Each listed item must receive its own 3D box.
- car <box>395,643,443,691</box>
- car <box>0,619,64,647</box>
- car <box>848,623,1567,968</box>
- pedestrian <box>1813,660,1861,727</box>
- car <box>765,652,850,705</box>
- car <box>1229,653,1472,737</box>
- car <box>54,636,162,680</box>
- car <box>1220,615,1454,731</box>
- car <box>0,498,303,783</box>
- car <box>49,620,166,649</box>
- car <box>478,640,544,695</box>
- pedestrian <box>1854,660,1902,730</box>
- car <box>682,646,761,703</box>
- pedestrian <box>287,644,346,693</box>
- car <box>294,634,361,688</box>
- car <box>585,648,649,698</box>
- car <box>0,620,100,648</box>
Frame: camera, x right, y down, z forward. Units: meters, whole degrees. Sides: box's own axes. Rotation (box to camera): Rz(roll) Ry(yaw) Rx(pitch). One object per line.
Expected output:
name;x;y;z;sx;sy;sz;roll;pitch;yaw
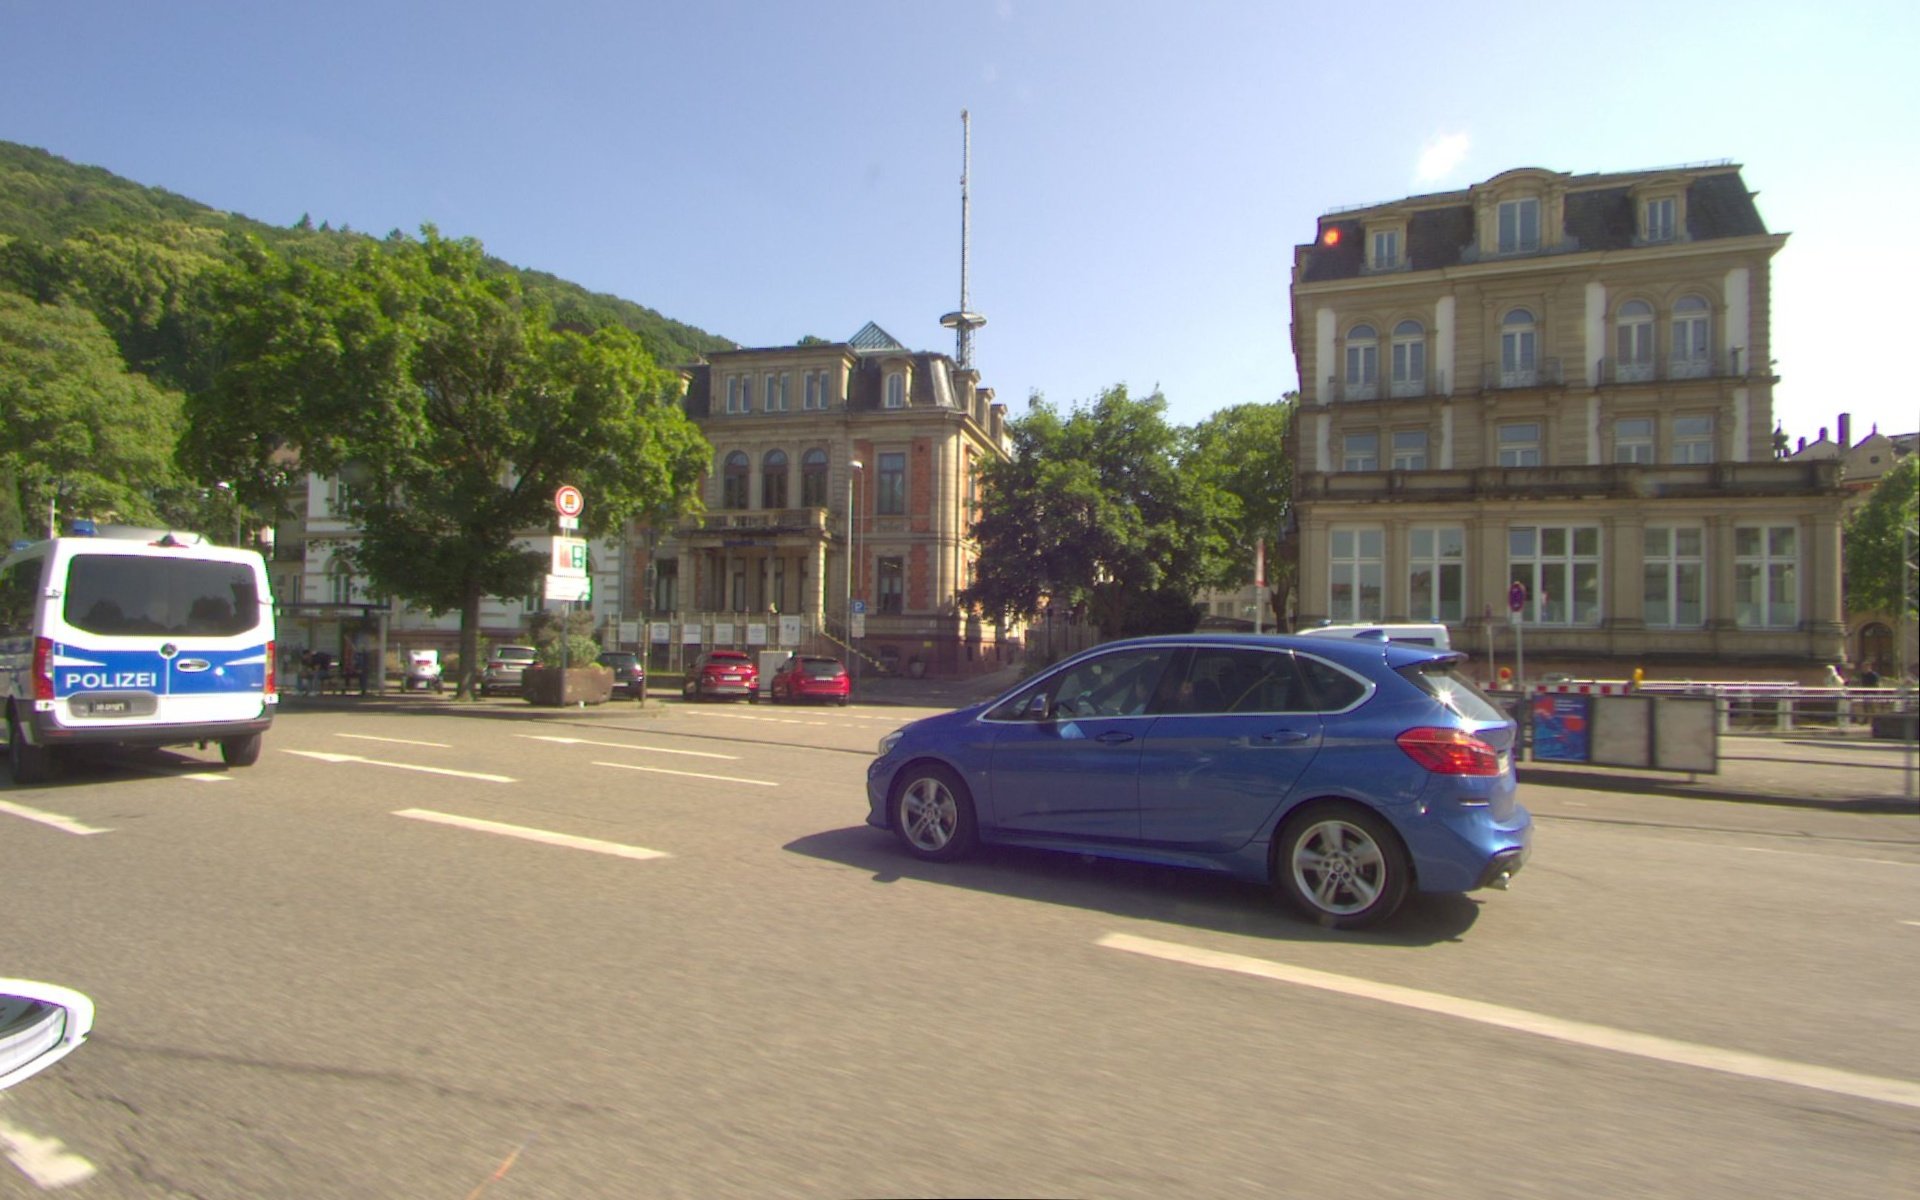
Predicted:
car;-18.016;2.215;33.334;1.186;1.501;2.275;3;-3;-33
car;-50.744;1.746;53.336;1.844;1.494;4.152;0;-2;18
car;1.448;0.979;6.515;4.213;1.560;1.716;-1;-4;34
pedestrian;23.600;2.504;26.969;0.738;1.762;0.819;0;-2;23
car;-4.561;2.300;29.547;1.720;1.435;3.694;2;-4;-21
car;8.512;2.051;22.270;4.788;1.646;1.822;1;-3;13
car;-30.914;2.091;36.490;1.798;1.479;4.096;2;-3;-23
car;9.183;1.754;24.869;5.219;2.636;2.000;1;-2;14
car;-9.483;0.468;11.270;4.870;2.539;2.066;-2;-3;39
car;-42.178;1.714;49.665;1.828;1.353;4.047;0;-2;20
car;-14.559;2.142;32.360;1.688;1.650;4.299;2;-3;-27
pedestrian;24.005;2.458;26.202;0.709;1.774;0.700;0;-2;22
car;-7.367;2.238;30.710;1.722;1.594;3.867;2;-3;-23
pedestrian;-16.397;1.742;25.549;0.776;1.212;1.022;1;-2;2
car;-21.670;2.077;34.447;1.689;1.717;4.254;2;-3;-30
car;-10.667;2.229;30.985;1.580;1.434;3.810;2;-3;-23
car;-46.735;1.732;50.724;1.790;1.353;4.473;0;-2;20
